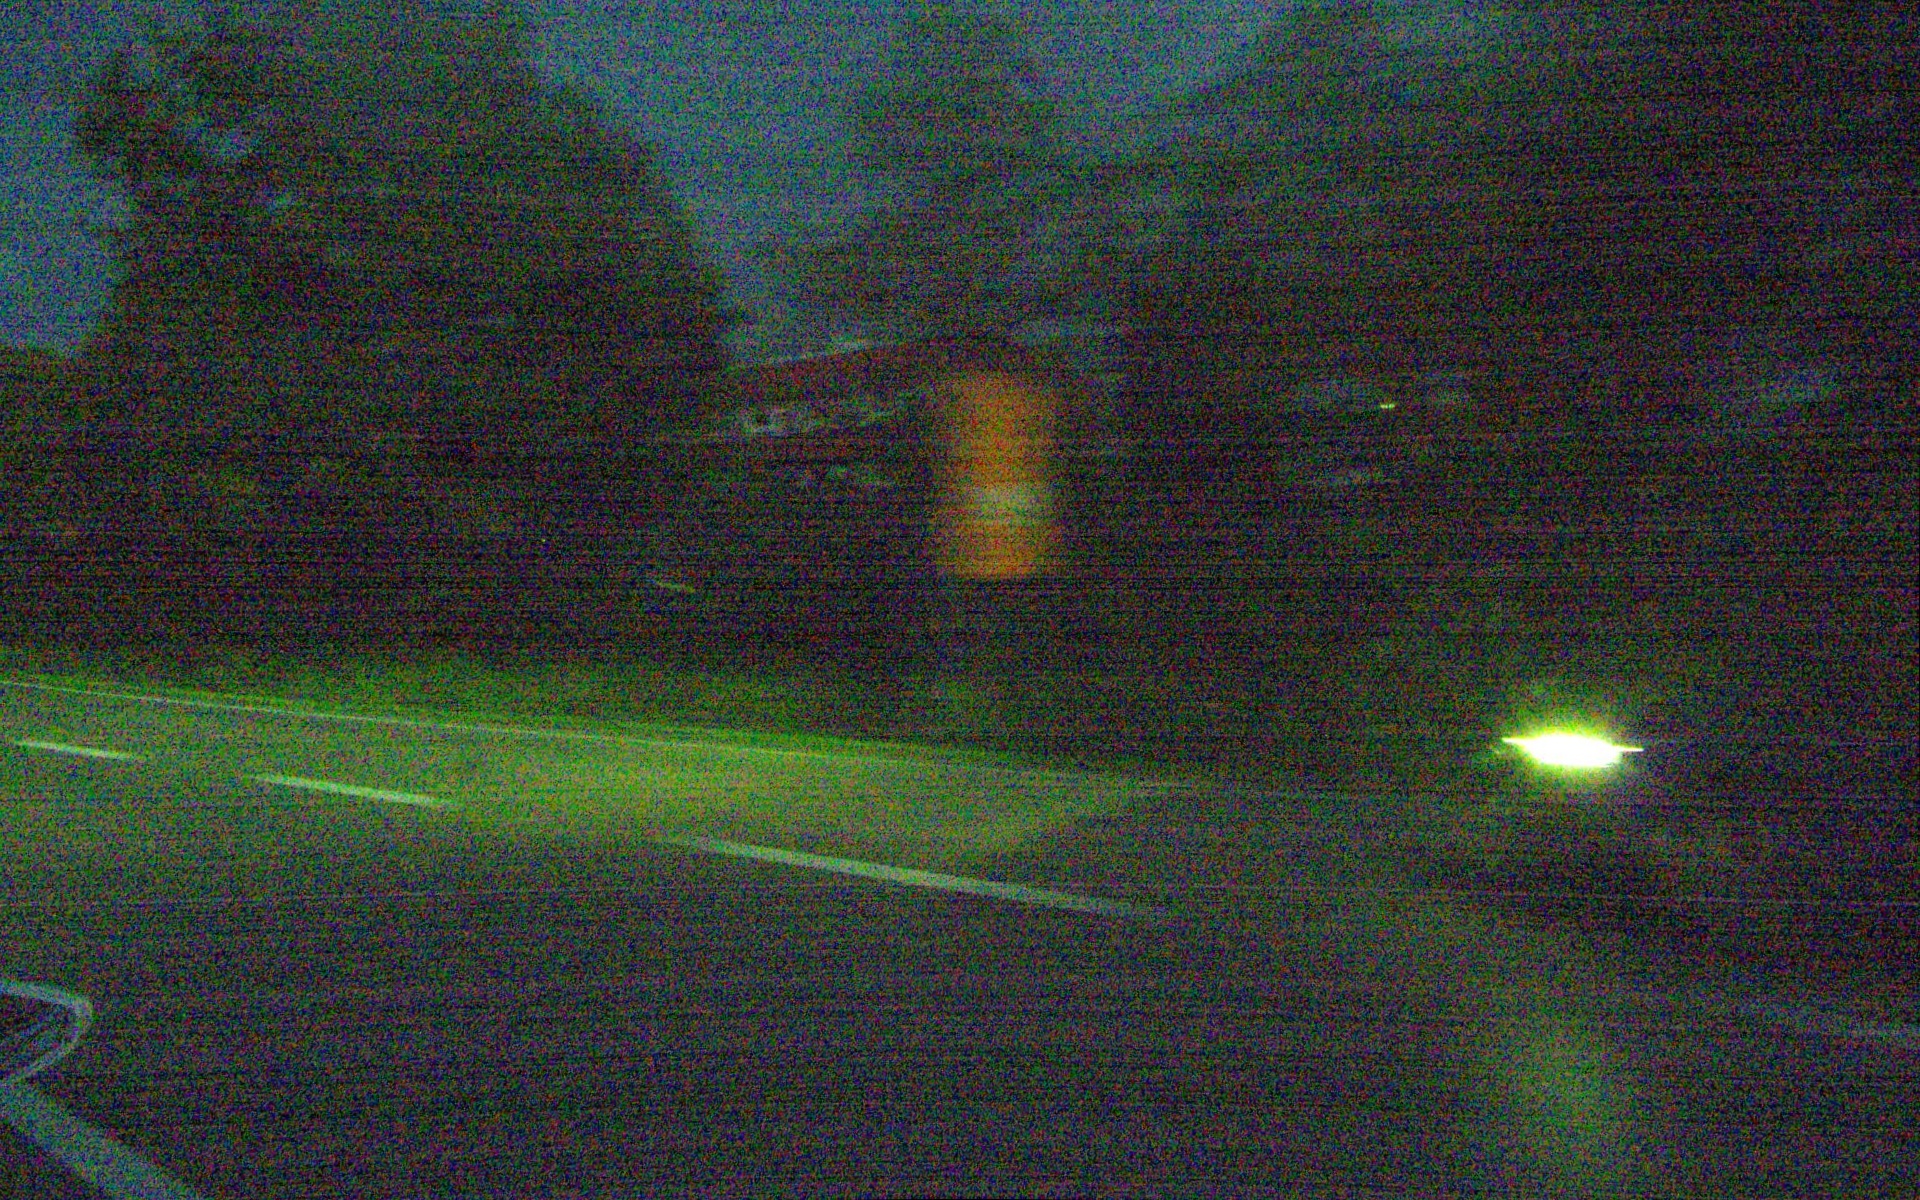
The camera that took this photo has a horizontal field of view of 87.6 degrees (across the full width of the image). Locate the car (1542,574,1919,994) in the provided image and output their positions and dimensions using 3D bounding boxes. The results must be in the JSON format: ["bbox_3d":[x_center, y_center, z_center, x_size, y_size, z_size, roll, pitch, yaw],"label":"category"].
[{"bbox_3d":[5.061,0.707,4.176,4.491,1.641,1.896,0,1,33],"label":"car"}]
